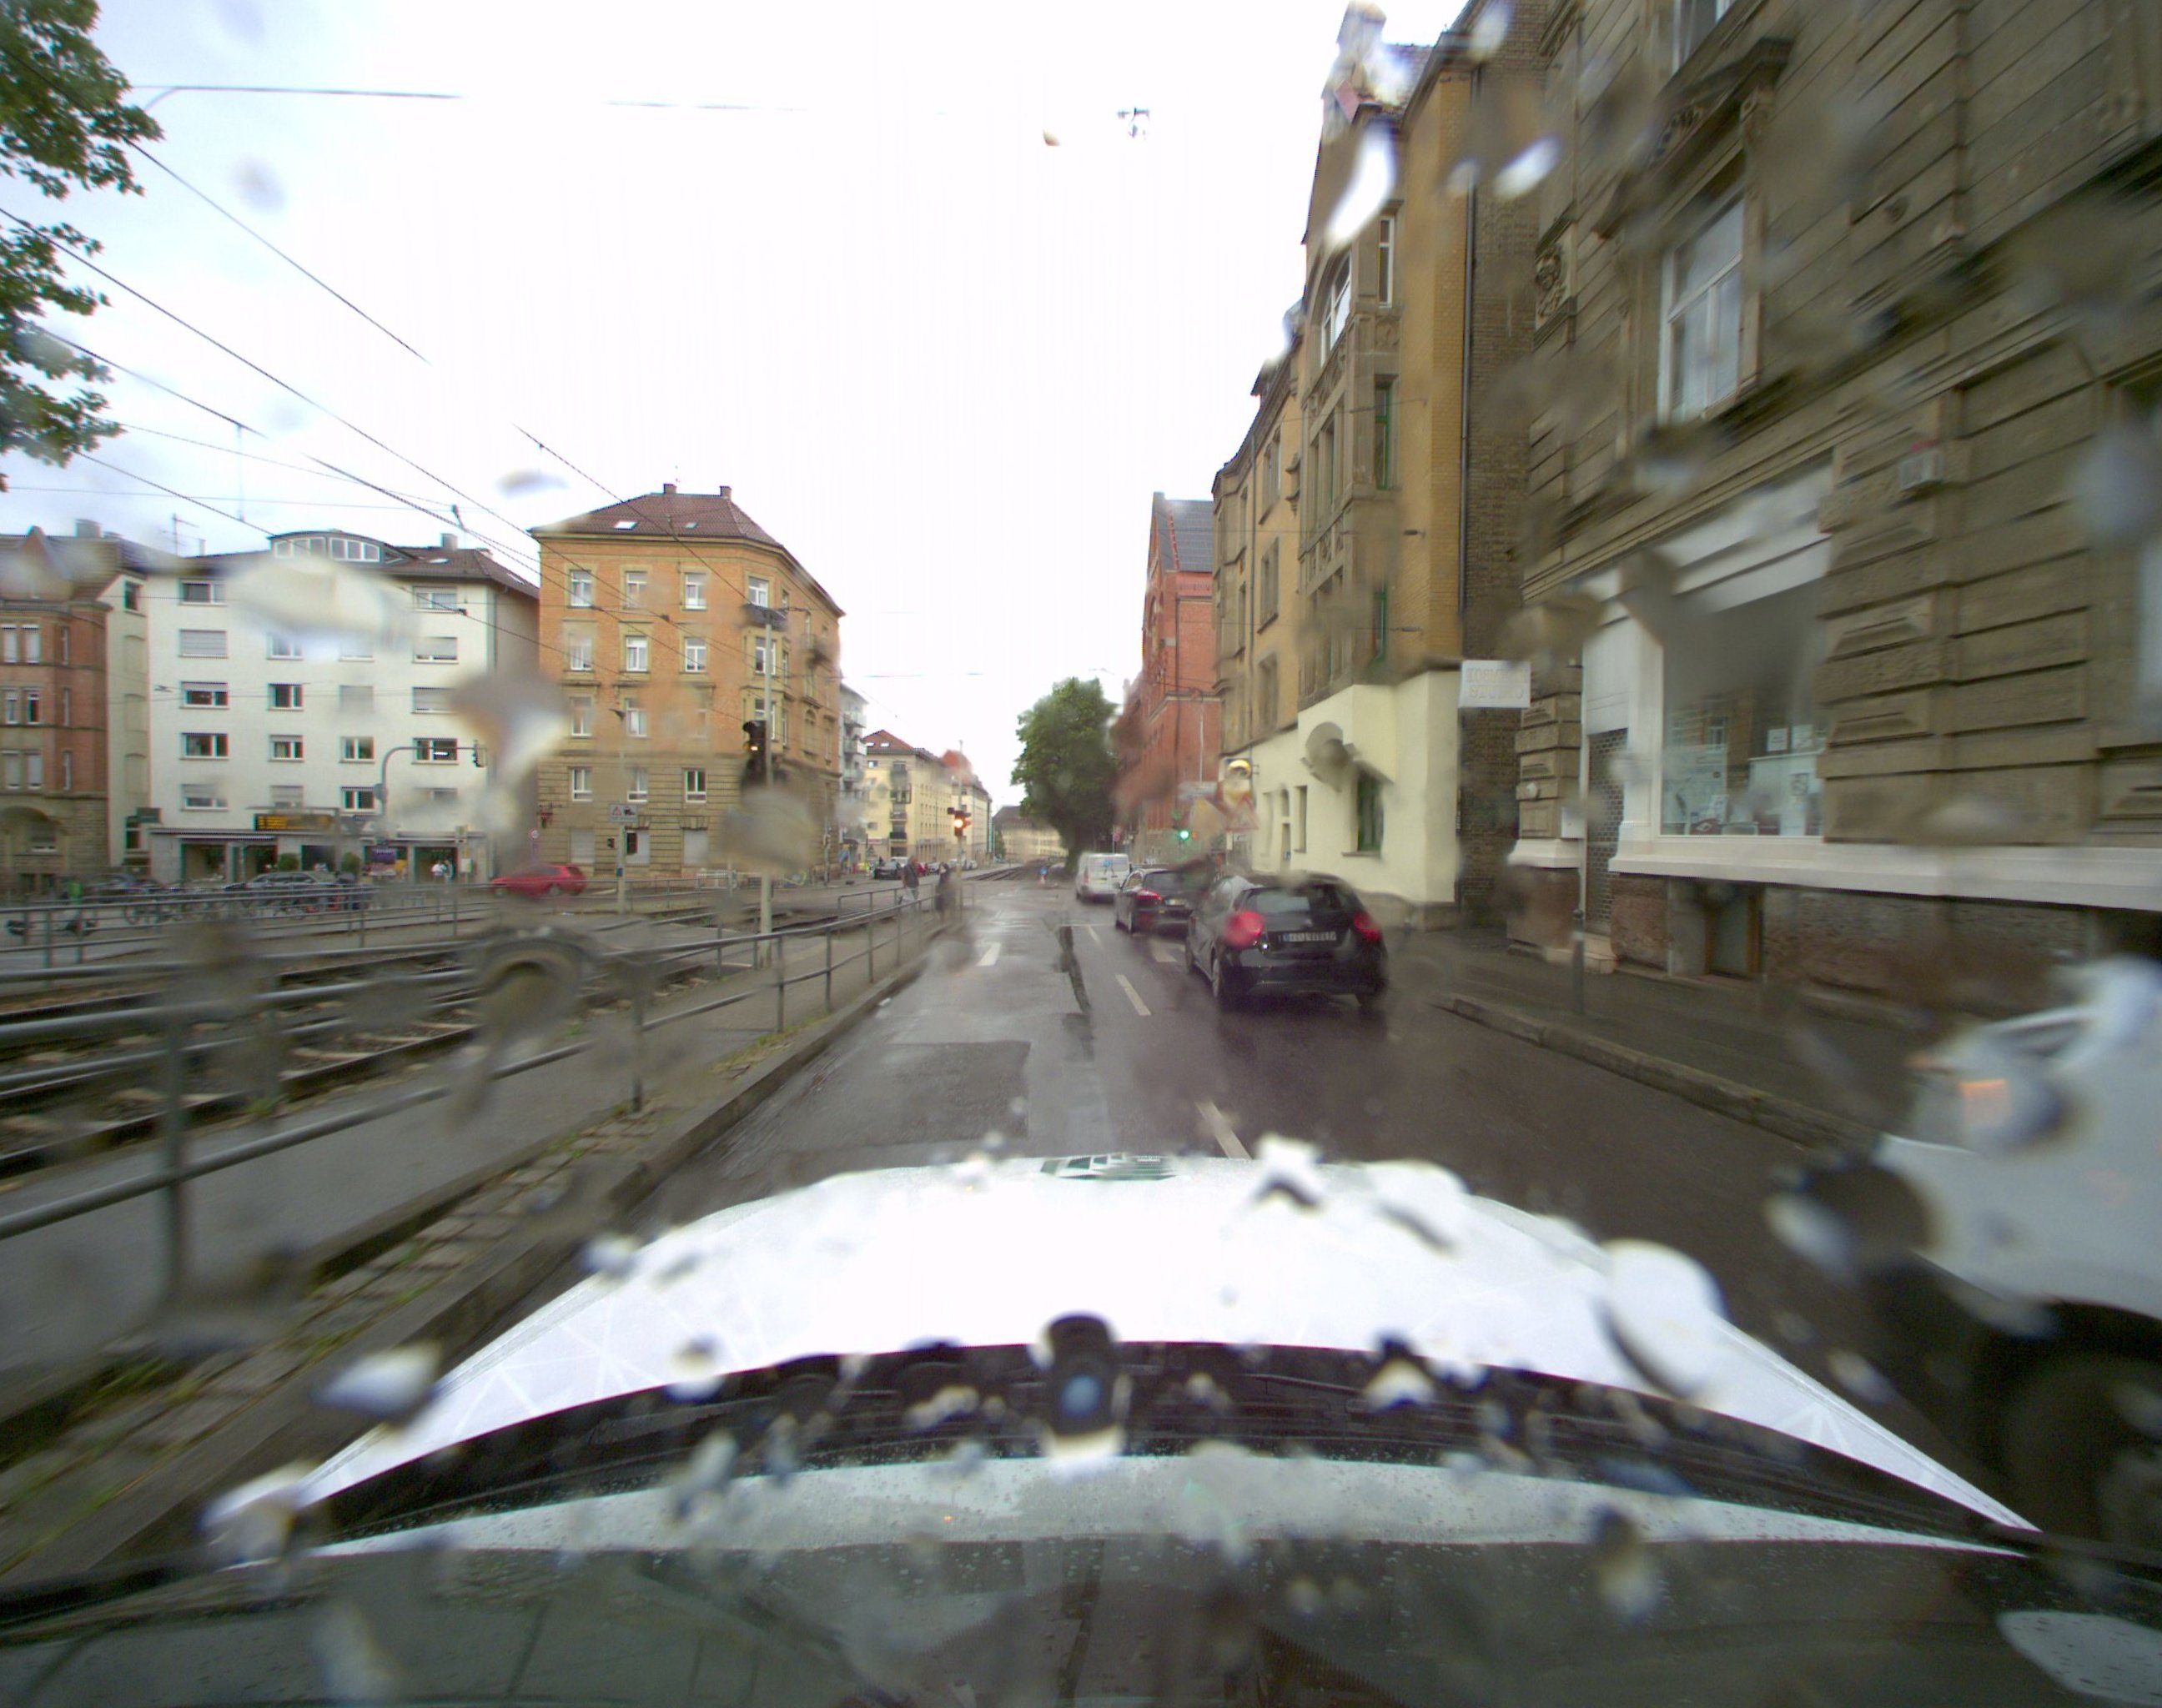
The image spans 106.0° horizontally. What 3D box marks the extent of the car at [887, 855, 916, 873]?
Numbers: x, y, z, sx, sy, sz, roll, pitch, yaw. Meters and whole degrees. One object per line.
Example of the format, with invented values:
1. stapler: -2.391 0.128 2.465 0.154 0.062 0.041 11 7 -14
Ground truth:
1. car: -16.624 0.927 75.661 1.781 1.530 4.459 0 -1 -1

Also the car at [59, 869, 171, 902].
1. car: -45.388 1.485 38.335 3.153 1.489 1.419 1 0 -11

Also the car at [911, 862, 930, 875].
1. car: -17.044 1.502 86.534 1.495 1.356 3.160 0 -1 -1

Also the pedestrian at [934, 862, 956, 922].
1. pedestrian: -3.524 0.968 21.081 0.531 1.530 0.435 0 -1 -10

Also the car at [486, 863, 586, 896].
1. car: -25.908 1.178 38.803 3.594 1.489 1.683 0 -1 -4

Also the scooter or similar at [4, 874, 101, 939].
1. scooter or similar: -19.713 0.983 15.626 0.357 1.195 1.119 -1 -1 37

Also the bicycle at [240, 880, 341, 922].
1. bicycle: -20.702 1.210 21.355 1.872 1.065 0.515 0 -1 -13

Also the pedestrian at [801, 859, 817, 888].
1. pedestrian: -15.710 1.115 47.096 0.675 1.661 0.677 -1 -1 4

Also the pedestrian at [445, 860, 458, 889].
1. pedestrian: -34.614 1.117 44.803 0.520 1.622 0.480 1 -1 -41

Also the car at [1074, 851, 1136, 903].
1. car: 0.833 0.818 30.891 1.929 1.831 4.274 0 0 -4

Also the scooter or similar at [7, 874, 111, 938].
1. scooter or similar: -20.205 1.007 16.129 0.295 1.195 1.259 -1 -1 37

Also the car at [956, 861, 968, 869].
1. car: -18.415 1.660 125.856 1.391 1.171 3.160 0 -1 -1

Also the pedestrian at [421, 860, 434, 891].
1. pedestrian: -35.495 1.163 44.258 0.520 1.622 0.480 1 -1 -41

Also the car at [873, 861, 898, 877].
1. car: -16.616 1.280 69.342 1.448 1.318 3.291 1 0 -3

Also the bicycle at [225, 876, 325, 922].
1. bicycle: -20.454 1.138 20.702 1.769 1.142 0.515 0 -1 -13

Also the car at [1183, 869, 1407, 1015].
1. car: 2.335 0.896 9.968 1.887 1.390 4.003 0 -1 3

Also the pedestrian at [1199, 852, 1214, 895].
1. pedestrian: 3.704 0.566 24.000 0.411 1.271 0.292 0 -1 4

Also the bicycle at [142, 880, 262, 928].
1. bicycle: -20.129 1.126 18.691 1.873 1.062 0.515 0 -1 -14

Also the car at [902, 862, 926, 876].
1. car: -16.821 1.464 82.145 1.675 1.356 3.700 0 -1 -1

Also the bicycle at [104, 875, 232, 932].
1. bicycle: -19.819 1.066 17.707 1.872 1.195 0.515 0 -1 -13

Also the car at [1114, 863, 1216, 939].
1. car: 1.713 0.936 17.928 1.708 1.469 4.278 0 -1 -1

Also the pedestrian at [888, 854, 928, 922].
1. pedestrian: -4.491 0.872 21.136 0.732 1.724 0.745 -1 -1 45

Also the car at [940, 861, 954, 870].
1. car: -17.793 1.524 108.384 1.391 1.171 3.160 0 -1 -1

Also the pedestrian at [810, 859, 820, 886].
1. pedestrian: -16.164 1.112 49.476 0.519 1.666 0.474 0 -1 -17

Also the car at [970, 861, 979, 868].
1. car: -19.290 1.871 147.756 1.391 1.171 3.160 0 -1 -1

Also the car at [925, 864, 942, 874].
1. car: -17.211 1.753 95.023 1.433 1.106 3.160 0 -1 -1

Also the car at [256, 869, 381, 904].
1. car: -32.489 1.363 34.773 3.594 1.403 1.682 0 -1 -5
